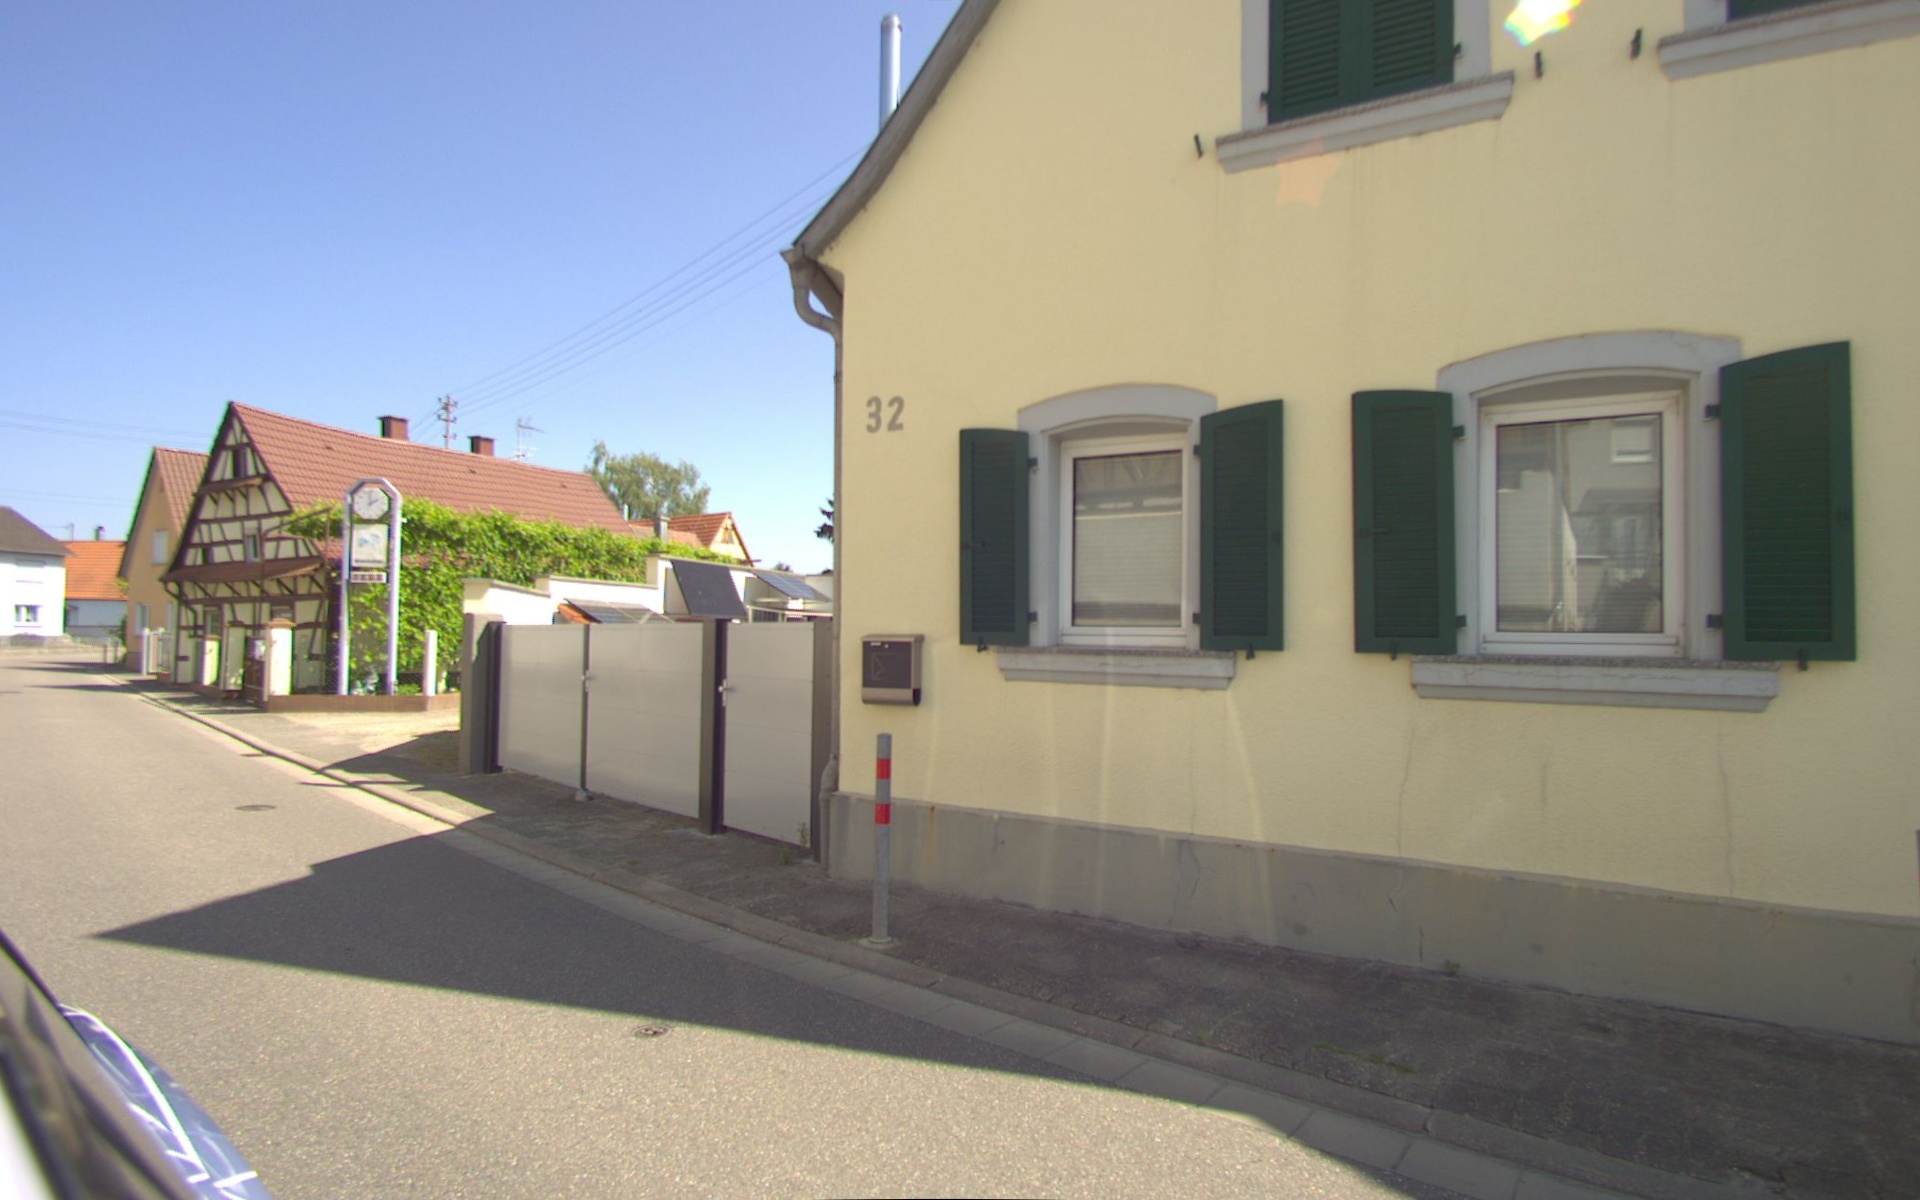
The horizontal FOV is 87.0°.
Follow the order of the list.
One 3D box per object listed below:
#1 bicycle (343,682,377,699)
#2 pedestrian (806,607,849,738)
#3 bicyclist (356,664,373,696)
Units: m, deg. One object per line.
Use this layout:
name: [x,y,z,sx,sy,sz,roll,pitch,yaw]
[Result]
bicycle: [-11.343,1.704,19.132,0.526,0.307,0.220,2,-2,-29]
pedestrian: [-1.713,0.923,13.087,0.439,1.656,0.407,1,-1,-22]
bicyclist: [-11.278,1.515,19.167,0.242,0.586,0.219,2,-2,-29]
